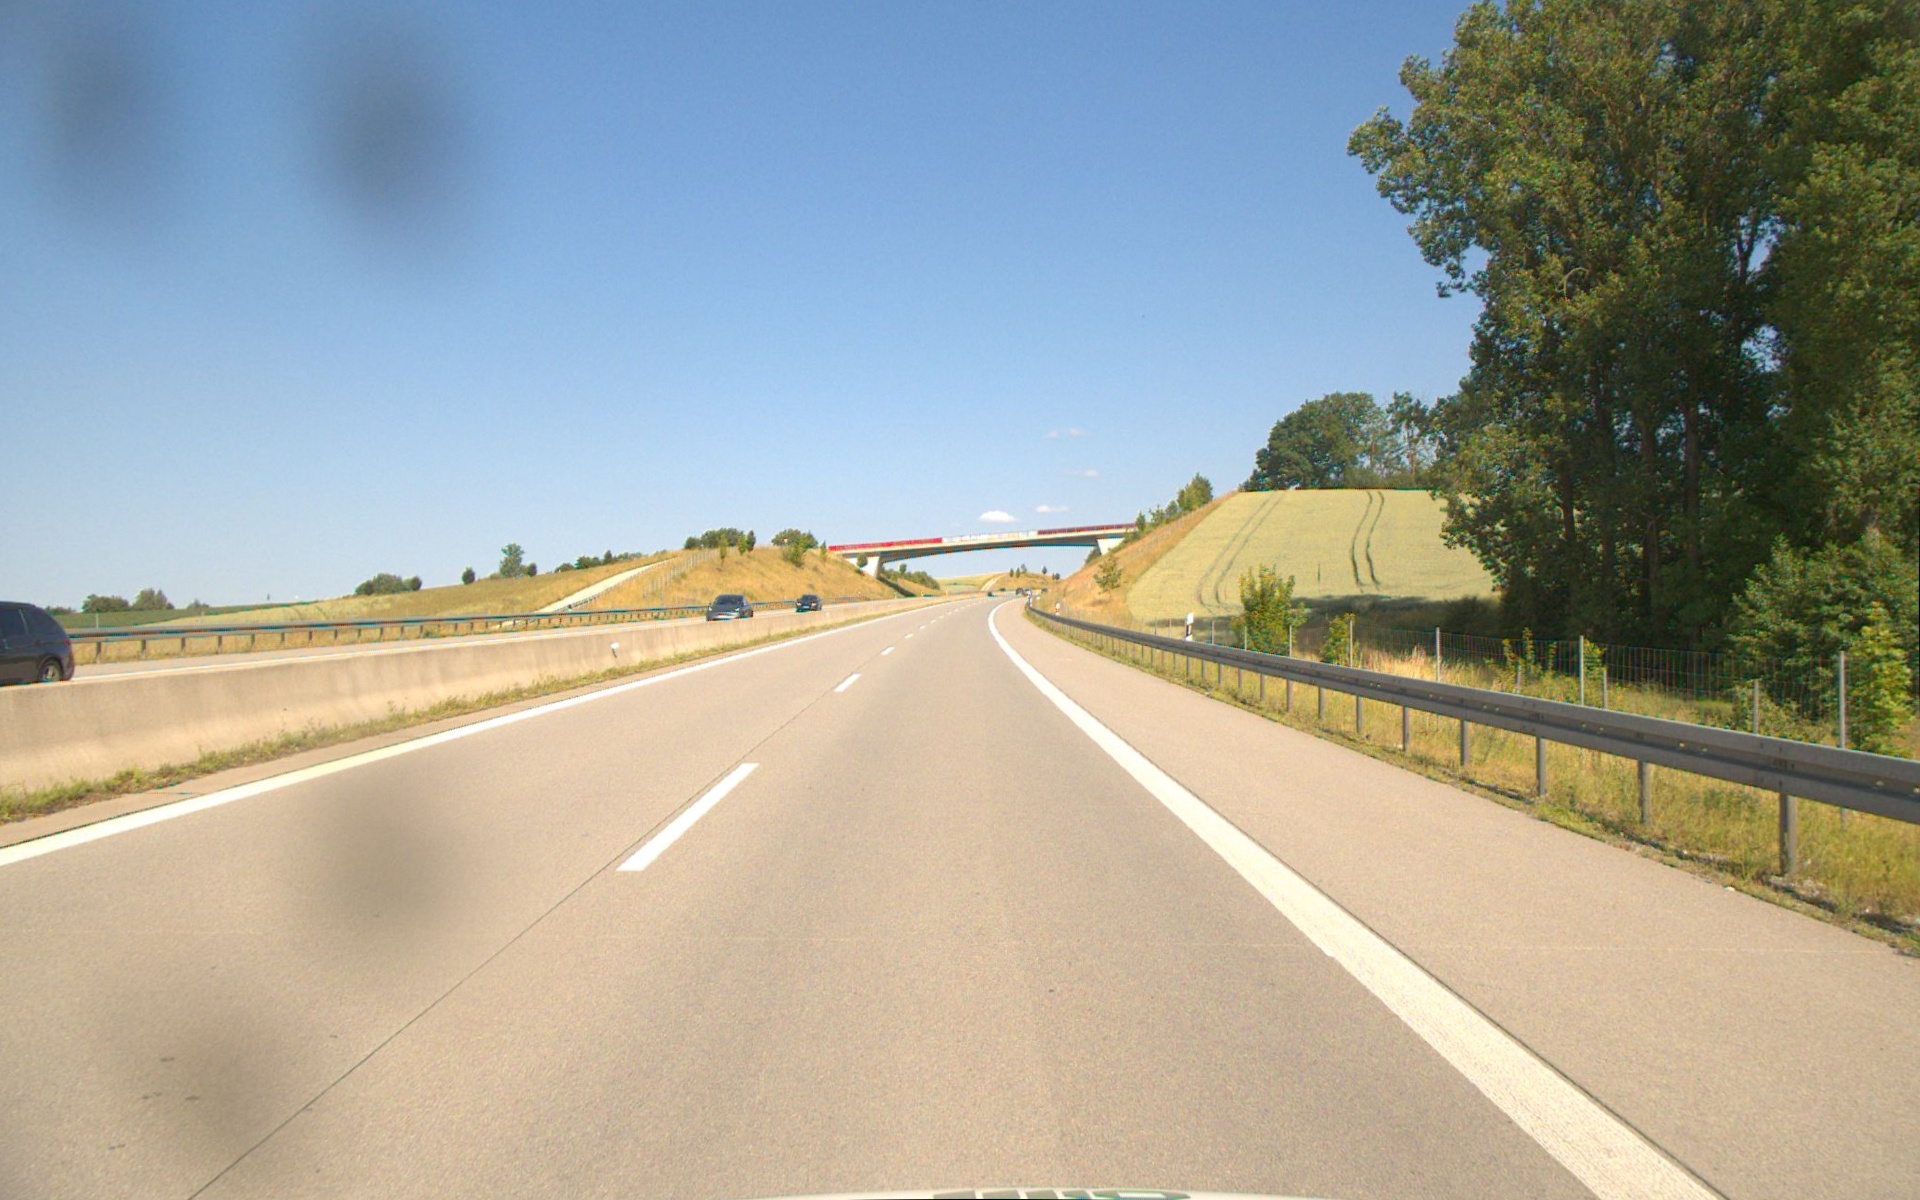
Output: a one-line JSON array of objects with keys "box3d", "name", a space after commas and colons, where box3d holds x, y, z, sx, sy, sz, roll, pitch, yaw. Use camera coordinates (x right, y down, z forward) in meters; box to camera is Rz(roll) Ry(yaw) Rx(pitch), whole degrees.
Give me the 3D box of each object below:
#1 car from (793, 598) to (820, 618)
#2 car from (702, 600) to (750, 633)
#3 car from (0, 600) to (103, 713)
[{"box3d": [-13.259, 0.720, 143.319, 1.775, 1.643, 4.677, 1, -1, 1], "name": "car"}, {"box3d": [-12.382, 0.882, 87.773, 1.775, 1.643, 4.677, 1, -1, 1], "name": "car"}, {"box3d": [-13.435, 0.728, 21.940, 1.776, 1.482, 4.511, 1, -1, 0], "name": "car"}]
